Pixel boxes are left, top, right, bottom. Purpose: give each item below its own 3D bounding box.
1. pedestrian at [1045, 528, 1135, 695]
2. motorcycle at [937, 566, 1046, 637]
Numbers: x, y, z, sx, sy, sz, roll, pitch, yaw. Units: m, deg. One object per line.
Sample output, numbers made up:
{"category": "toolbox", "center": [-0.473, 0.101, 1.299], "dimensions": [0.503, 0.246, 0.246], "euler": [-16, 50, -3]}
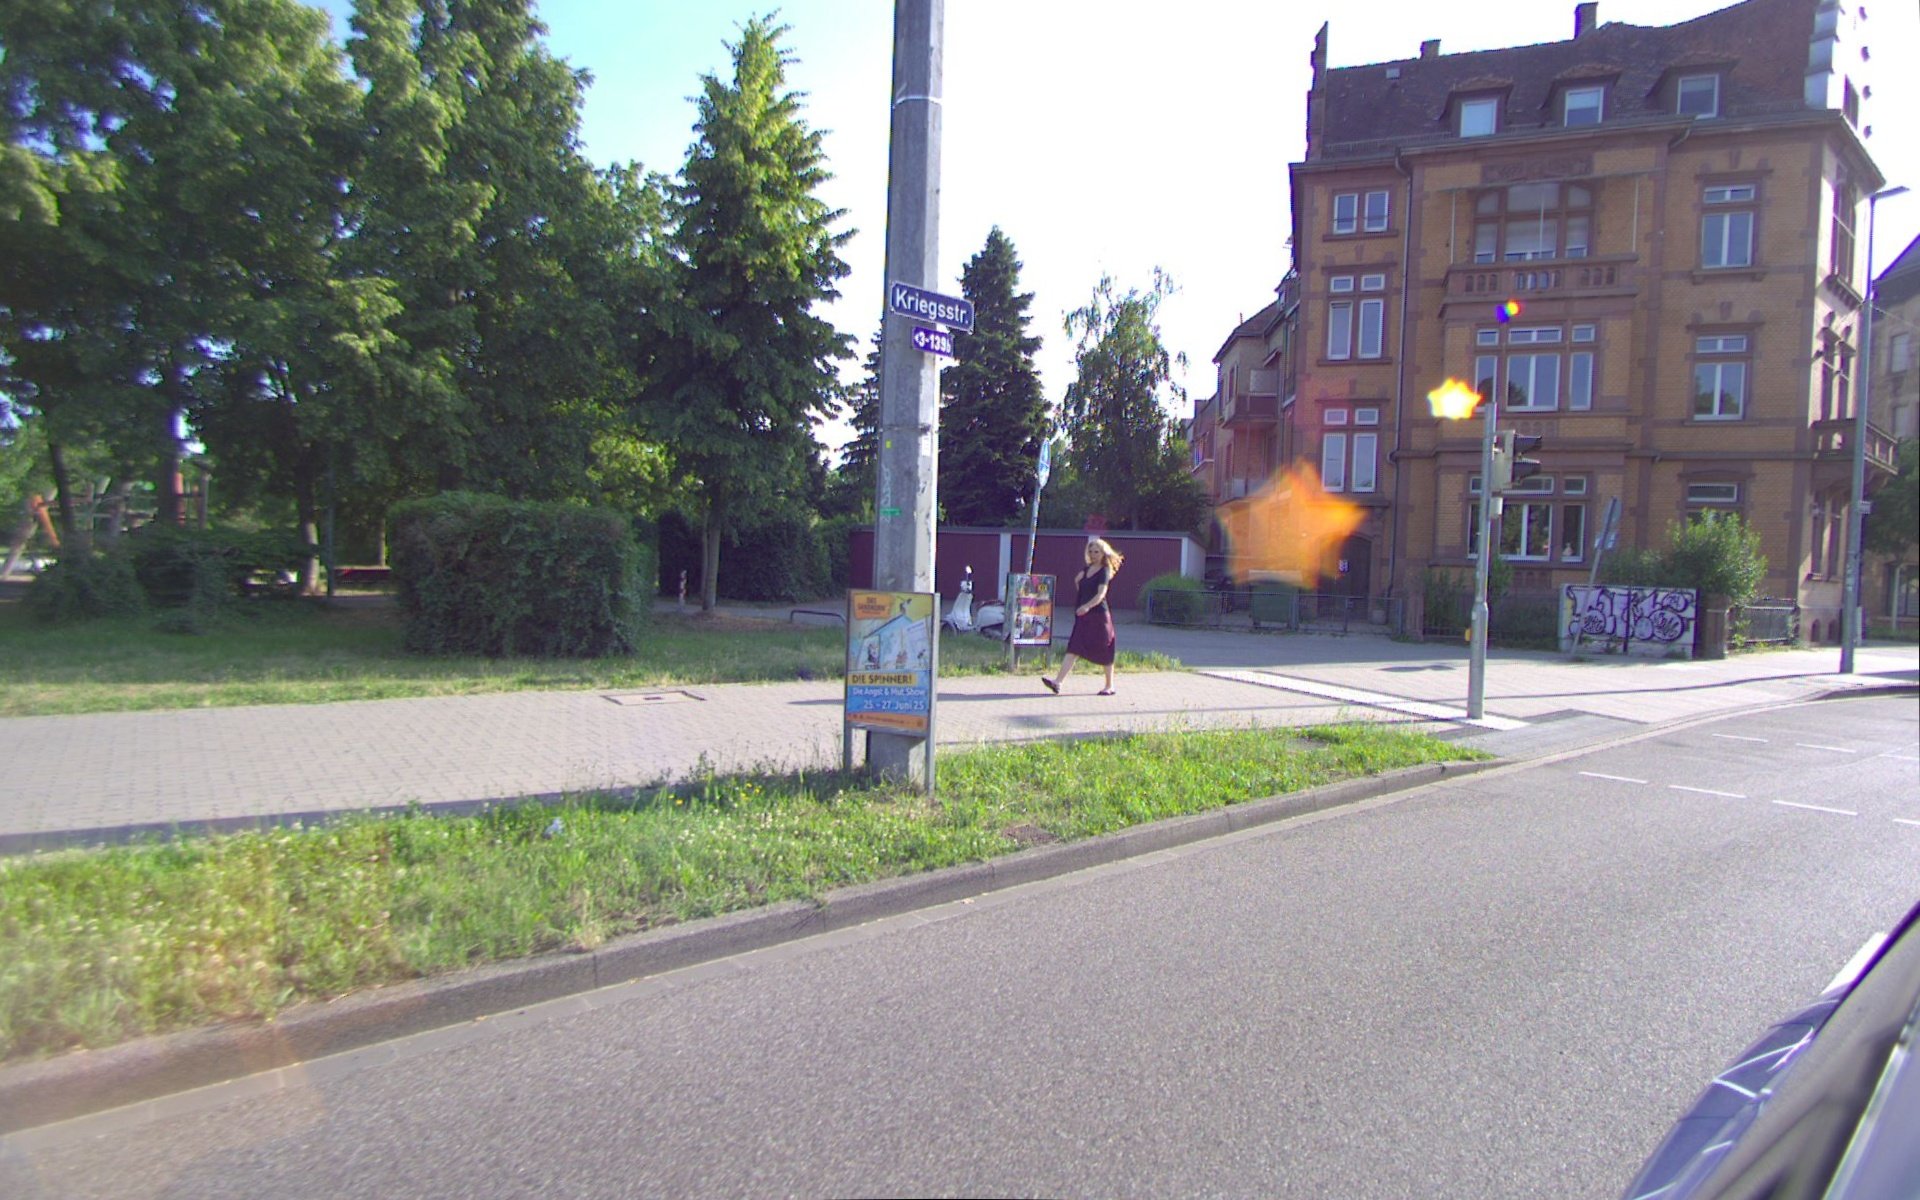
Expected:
{"category": "pedestrian", "center": [1.404, 0.114, 10.986], "dimensions": [0.538, 1.711, 0.618], "euler": [1, 6, -35]}
{"category": "motorcycle", "center": [0.534, 0.003, 18.025], "dimensions": [0.696, 1.174, 1.998], "euler": [1, 1, -44]}
